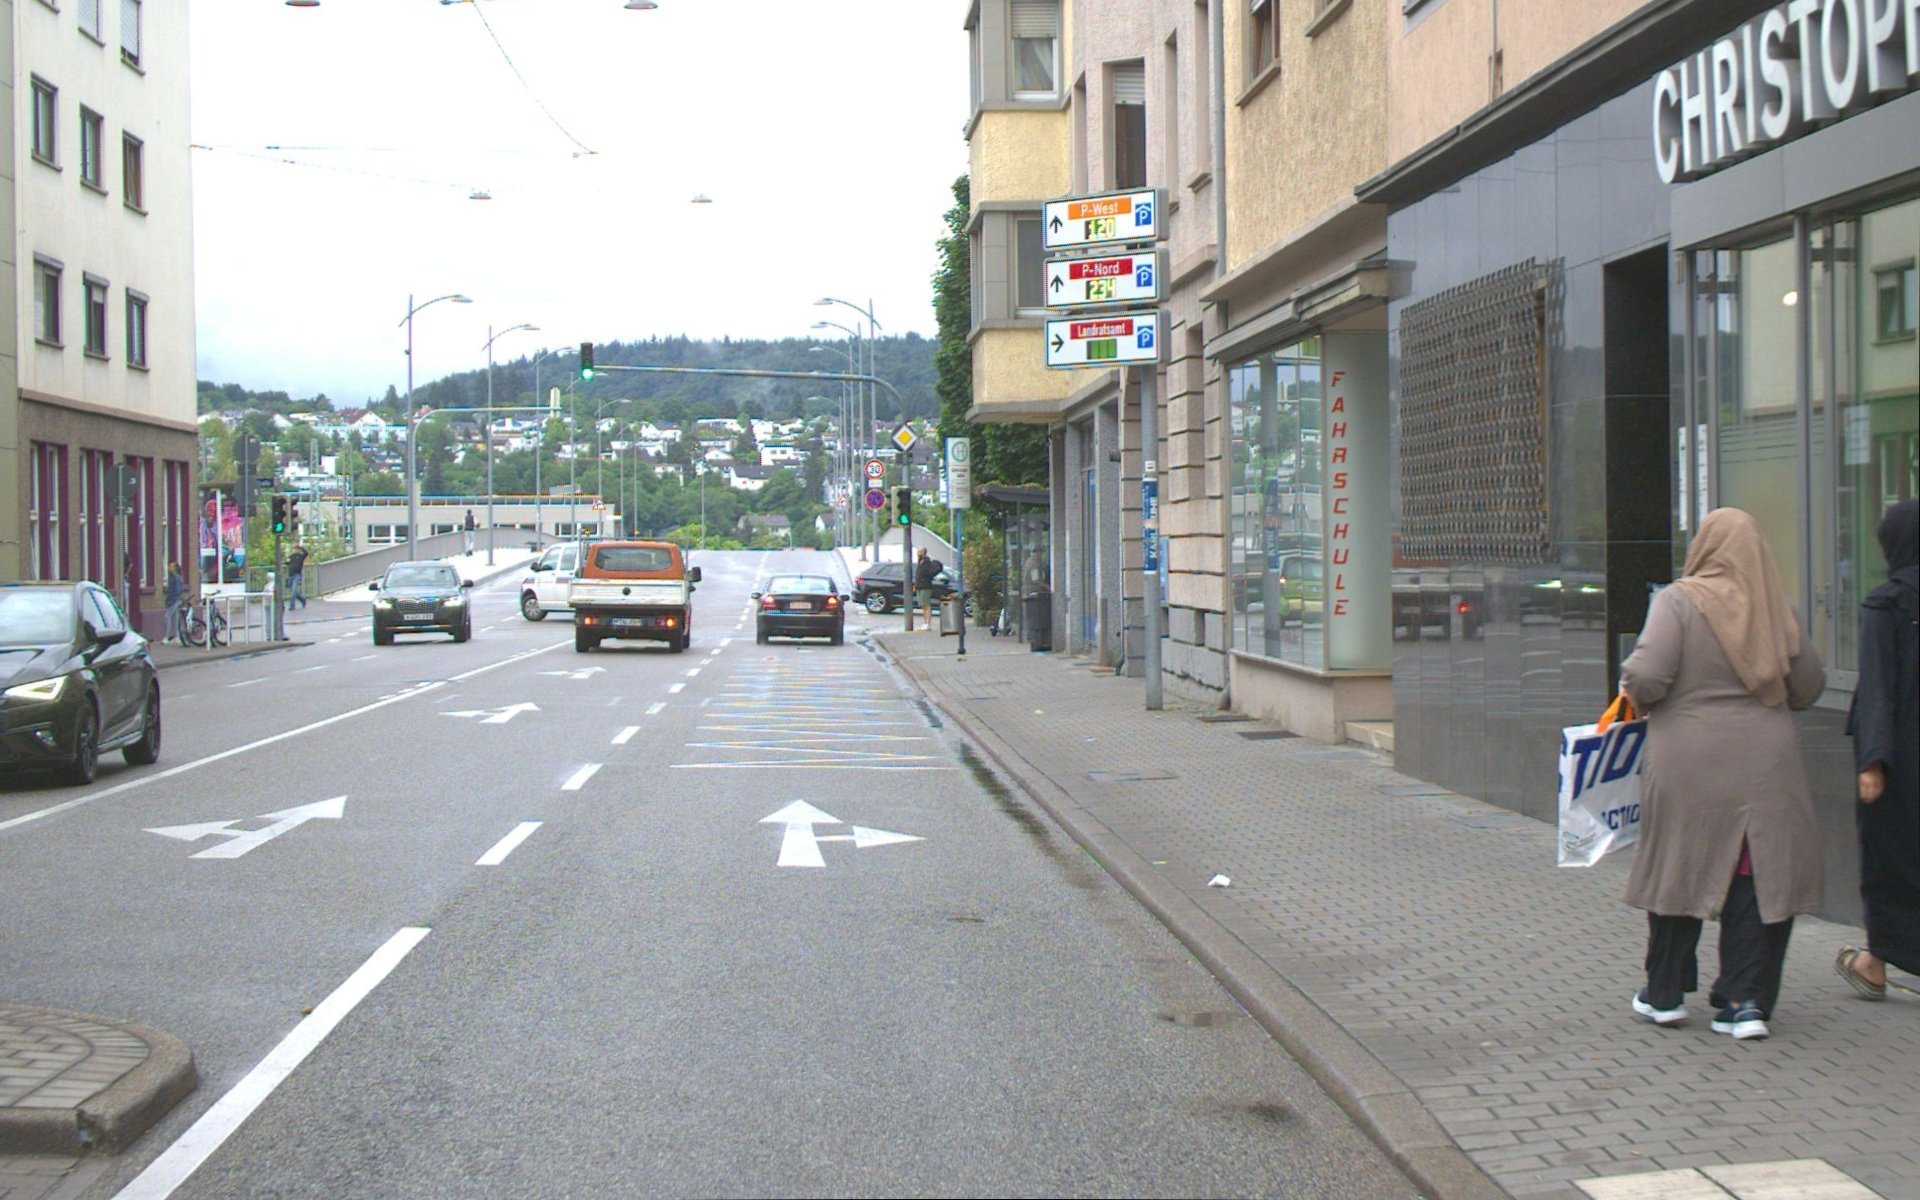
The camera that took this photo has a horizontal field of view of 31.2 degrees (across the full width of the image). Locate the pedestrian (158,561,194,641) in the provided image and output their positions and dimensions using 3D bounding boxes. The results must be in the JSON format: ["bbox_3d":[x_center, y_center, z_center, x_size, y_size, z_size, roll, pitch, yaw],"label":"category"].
[{"bbox_3d":[-15.322,0.021,67.197,0.574,1.548,0.740,-1,0,-5],"label":"pedestrian"}]

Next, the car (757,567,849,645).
[{"bbox_3d":[-3.092,0.095,67.828,1.754,1.474,4.000,1,0,-2],"label":"car"}]

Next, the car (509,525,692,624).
[{"bbox_3d":[-8.840,-0.614,84.184,1.994,2.342,5.007,-1,1,-39],"label":"car"}]

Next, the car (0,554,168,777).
[{"bbox_3d":[-6.826,0.417,24.341,1.708,1.446,4.086,-1,0,-3],"label":"car"}]

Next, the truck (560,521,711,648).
[{"bbox_3d":[-5.696,-0.285,60.939,2.399,2.122,5.315,-1,0,-3],"label":"truck"}]

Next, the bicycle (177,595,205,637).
[{"bbox_3d":[-14.643,0.293,65.497,0.264,0.780,1.422,-1,0,-3],"label":"bicycle"}]

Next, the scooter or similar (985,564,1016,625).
[{"bbox_3d":[0.781,-0.113,66.964,0.511,1.168,1.549,-1,0,-2],"label":"scooter or similar"}]

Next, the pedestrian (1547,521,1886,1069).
[{"bbox_3d":[2.233,0.554,10.234,0.778,1.554,0.783,-1,0,-4],"label":"pedestrian"}]

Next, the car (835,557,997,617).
[{"bbox_3d":[-1.166,-0.352,92.070,3.989,1.547,1.999,-1,0,12],"label":"car"}]

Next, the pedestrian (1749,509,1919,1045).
[{"bbox_3d":[2.917,0.507,10.456,0.768,1.554,0.876,-1,0,-4],"label":"pedestrian"}]

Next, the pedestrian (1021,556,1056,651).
[{"bbox_3d":[1.420,0.064,62.242,0.619,1.693,0.656,-1,0,2],"label":"pedestrian"}]

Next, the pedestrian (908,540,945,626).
[{"bbox_3d":[-0.723,-0.375,74.308,0.733,1.835,0.631,-1,0,-4],"label":"pedestrian"}]

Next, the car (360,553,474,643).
[{"bbox_3d":[-11.122,-0.057,70.711,1.930,1.751,4.574,-1,0,-4],"label":"car"}]

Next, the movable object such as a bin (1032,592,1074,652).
[{"bbox_3d":[1.455,0.344,54.115,0.600,0.923,0.704,-1,0,-3],"label":"movable object such as a bin"}]

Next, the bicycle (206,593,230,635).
[{"bbox_3d":[-14.212,0.264,65.870,0.264,0.780,1.111,-1,0,-3],"label":"bicycle"}]

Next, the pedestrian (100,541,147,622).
[{"bbox_3d":[-16.357,-0.365,67.252,0.773,1.572,0.589,-1,0,-3],"label":"pedestrian"}]

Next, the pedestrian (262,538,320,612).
[{"bbox_3d":[-18.173,-0.684,93.339,0.984,2.007,1.172,0,0,35],"label":"pedestrian"}]
